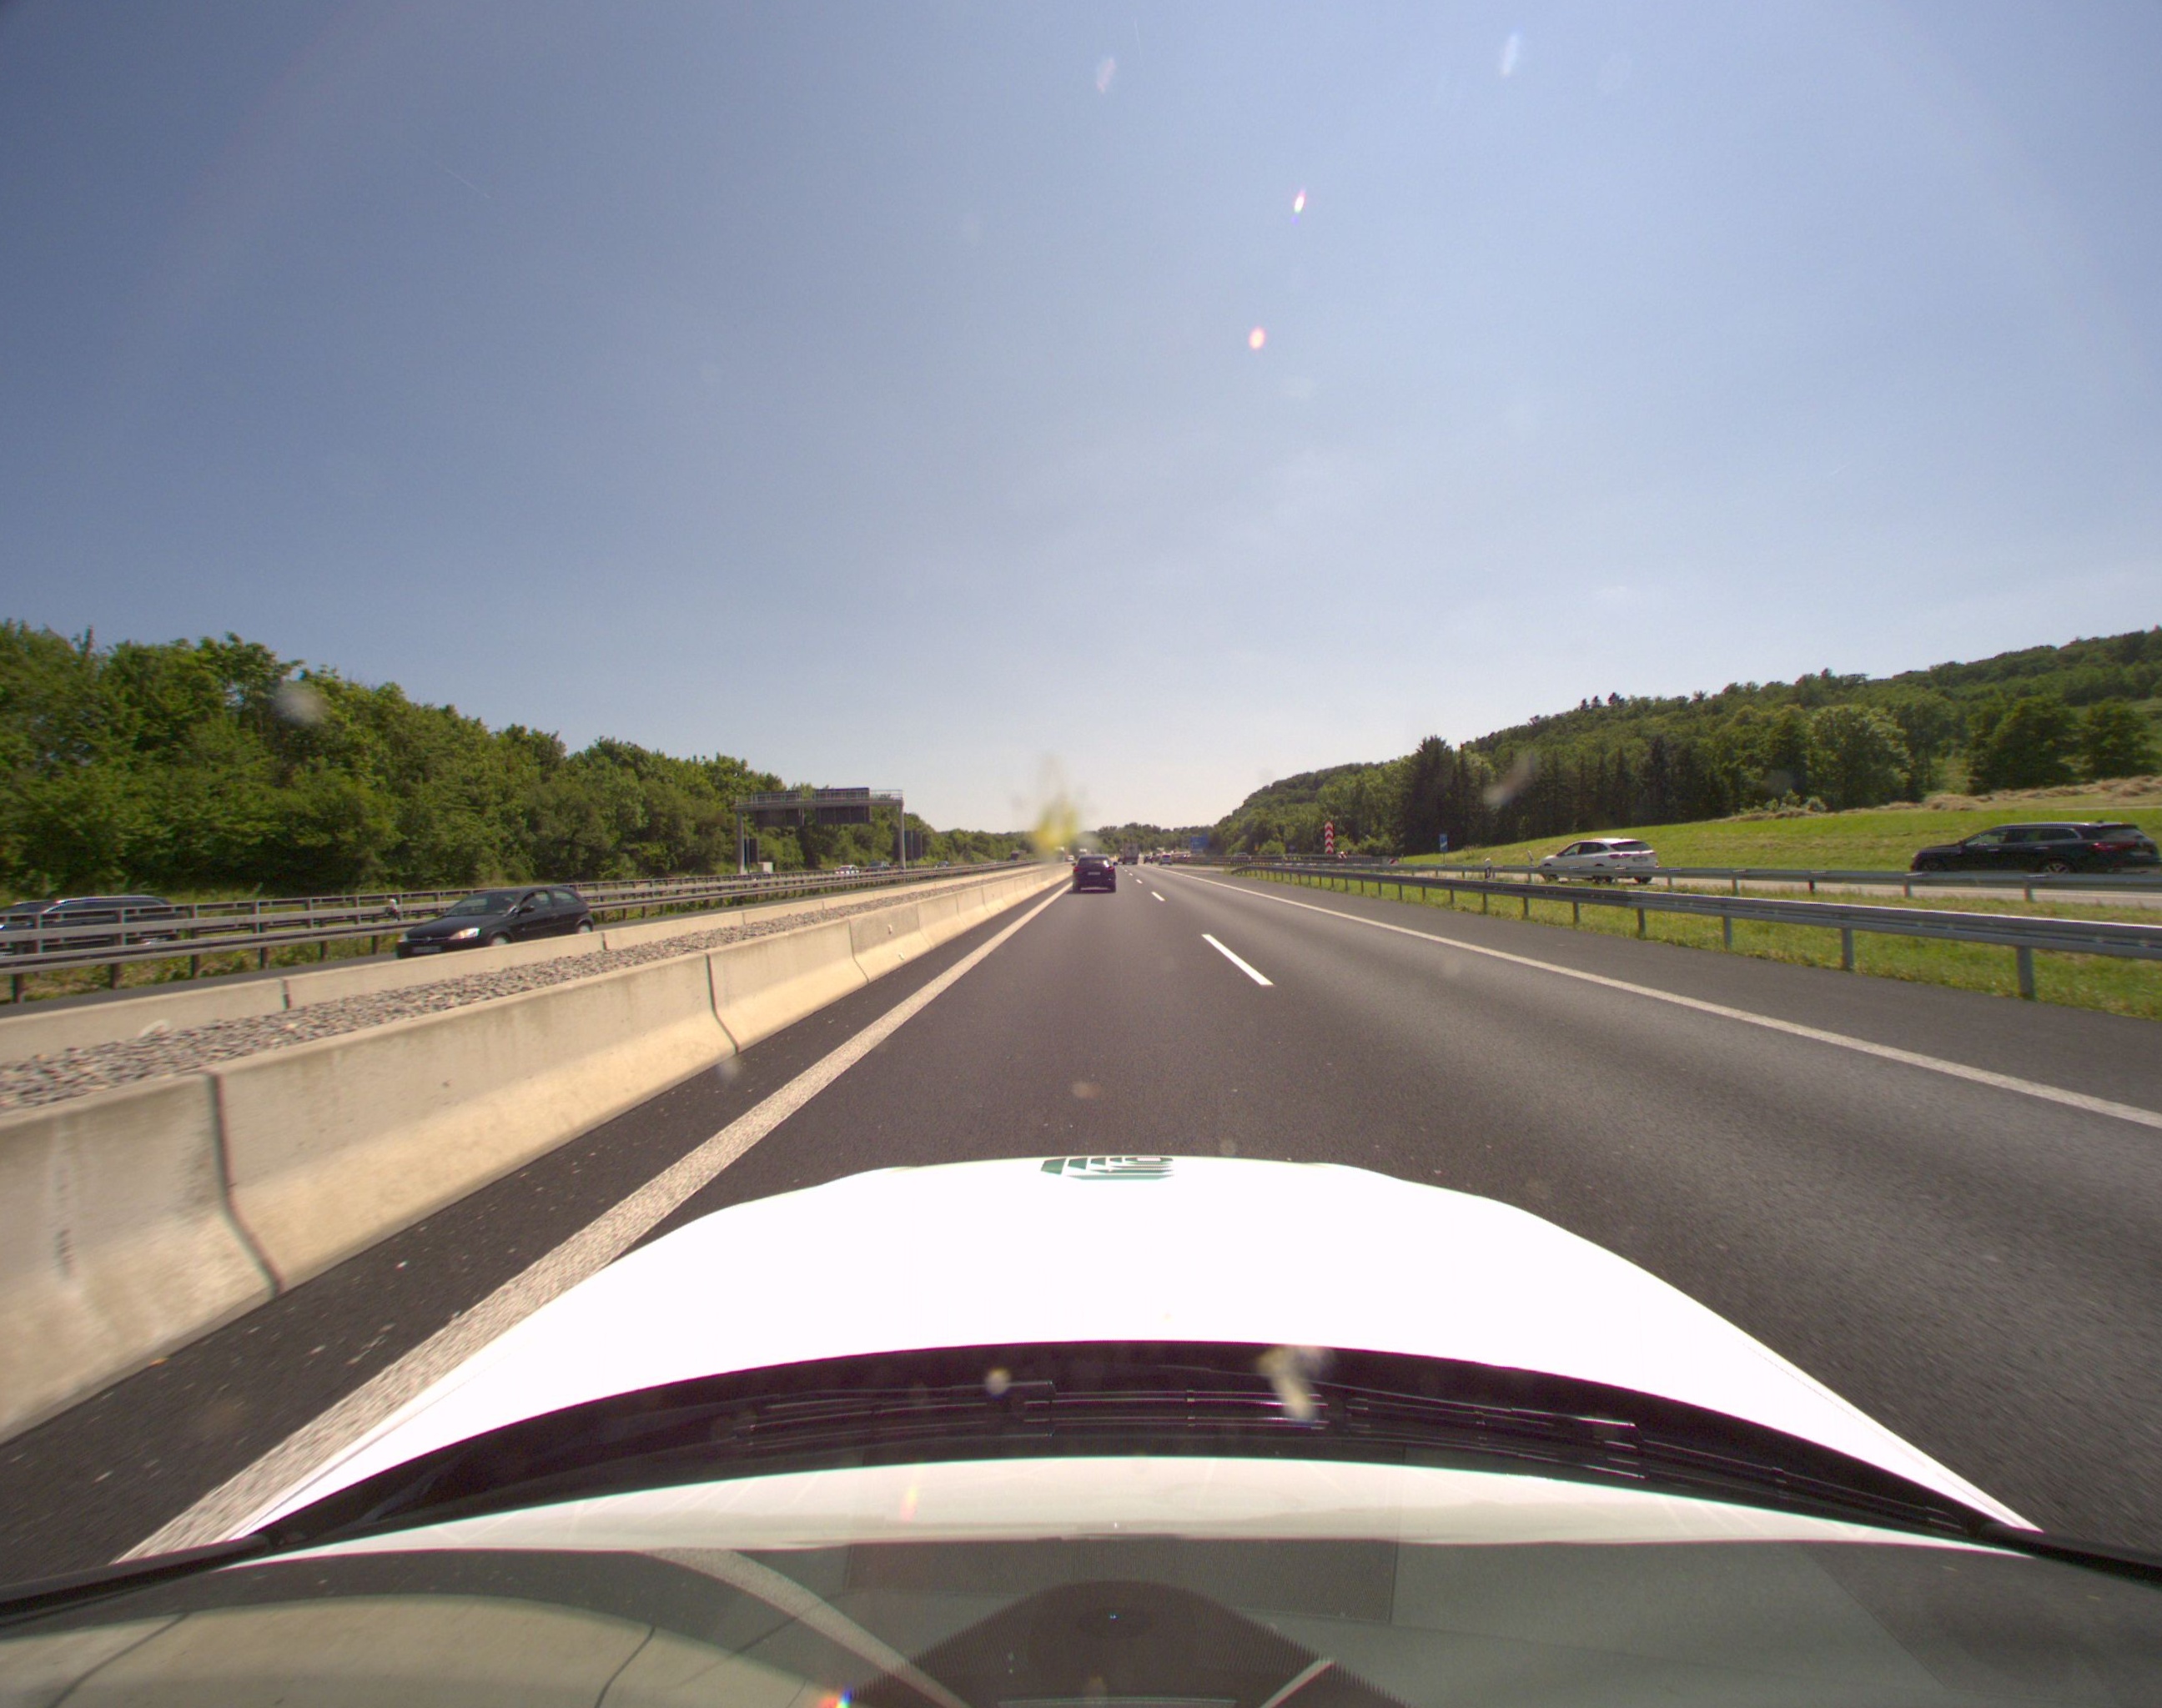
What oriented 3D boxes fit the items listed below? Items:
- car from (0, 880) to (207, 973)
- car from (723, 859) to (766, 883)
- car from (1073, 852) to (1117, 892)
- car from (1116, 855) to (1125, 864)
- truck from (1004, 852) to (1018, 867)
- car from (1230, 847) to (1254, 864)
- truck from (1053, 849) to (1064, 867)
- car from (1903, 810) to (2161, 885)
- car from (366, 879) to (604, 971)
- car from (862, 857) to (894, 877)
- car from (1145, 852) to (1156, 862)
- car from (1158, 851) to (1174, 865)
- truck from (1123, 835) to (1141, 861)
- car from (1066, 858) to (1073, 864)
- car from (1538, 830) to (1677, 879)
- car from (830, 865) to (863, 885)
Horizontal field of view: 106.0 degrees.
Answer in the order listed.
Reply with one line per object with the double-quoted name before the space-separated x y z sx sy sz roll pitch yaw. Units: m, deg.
"car" -23.822 1.621 18.667 1.986 1.857 5.040 -2 0 2
"car" -29.493 1.496 71.509 1.938 2.014 4.025 0 -1 4
"car" 0.571 0.756 35.134 1.774 1.577 3.998 1 -1 -1
"car" 10.116 1.383 207.210 2.130 2.216 5.090 0 -1 2
"truck" -20.057 1.704 234.709 2.793 4.272 5.011 0 -1 9
"car" 21.123 0.211 106.809 1.990 2.013 3.993 -3 0 -5
"truck" -5.666 0.975 202.971 2.699 4.288 4.550 0 -1 -2
"car" 24.853 -0.124 20.772 1.988 1.662 5.621 0 -1 -2
"car" -11.819 1.324 16.575 1.828 1.534 4.157 0 -1 -1
"car" -21.315 1.337 85.635 1.938 2.014 4.769 0 -1 4
"car" 14.373 0.619 167.901 1.986 2.014 4.002 0 -1 2
"car" 13.406 0.585 129.009 1.987 2.013 4.000 -3 0 0
"truck" 9.478 -0.994 149.085 3.018 4.418 12.033 0 -1 5
"car" -3.324 2.134 239.660 1.734 1.826 4.907 0 -1 3
"car" 19.218 0.038 30.000 1.990 1.662 4.460 0 -1 -5
"car" -25.415 2.249 88.530 1.938 2.014 4.769 0 -1 4
